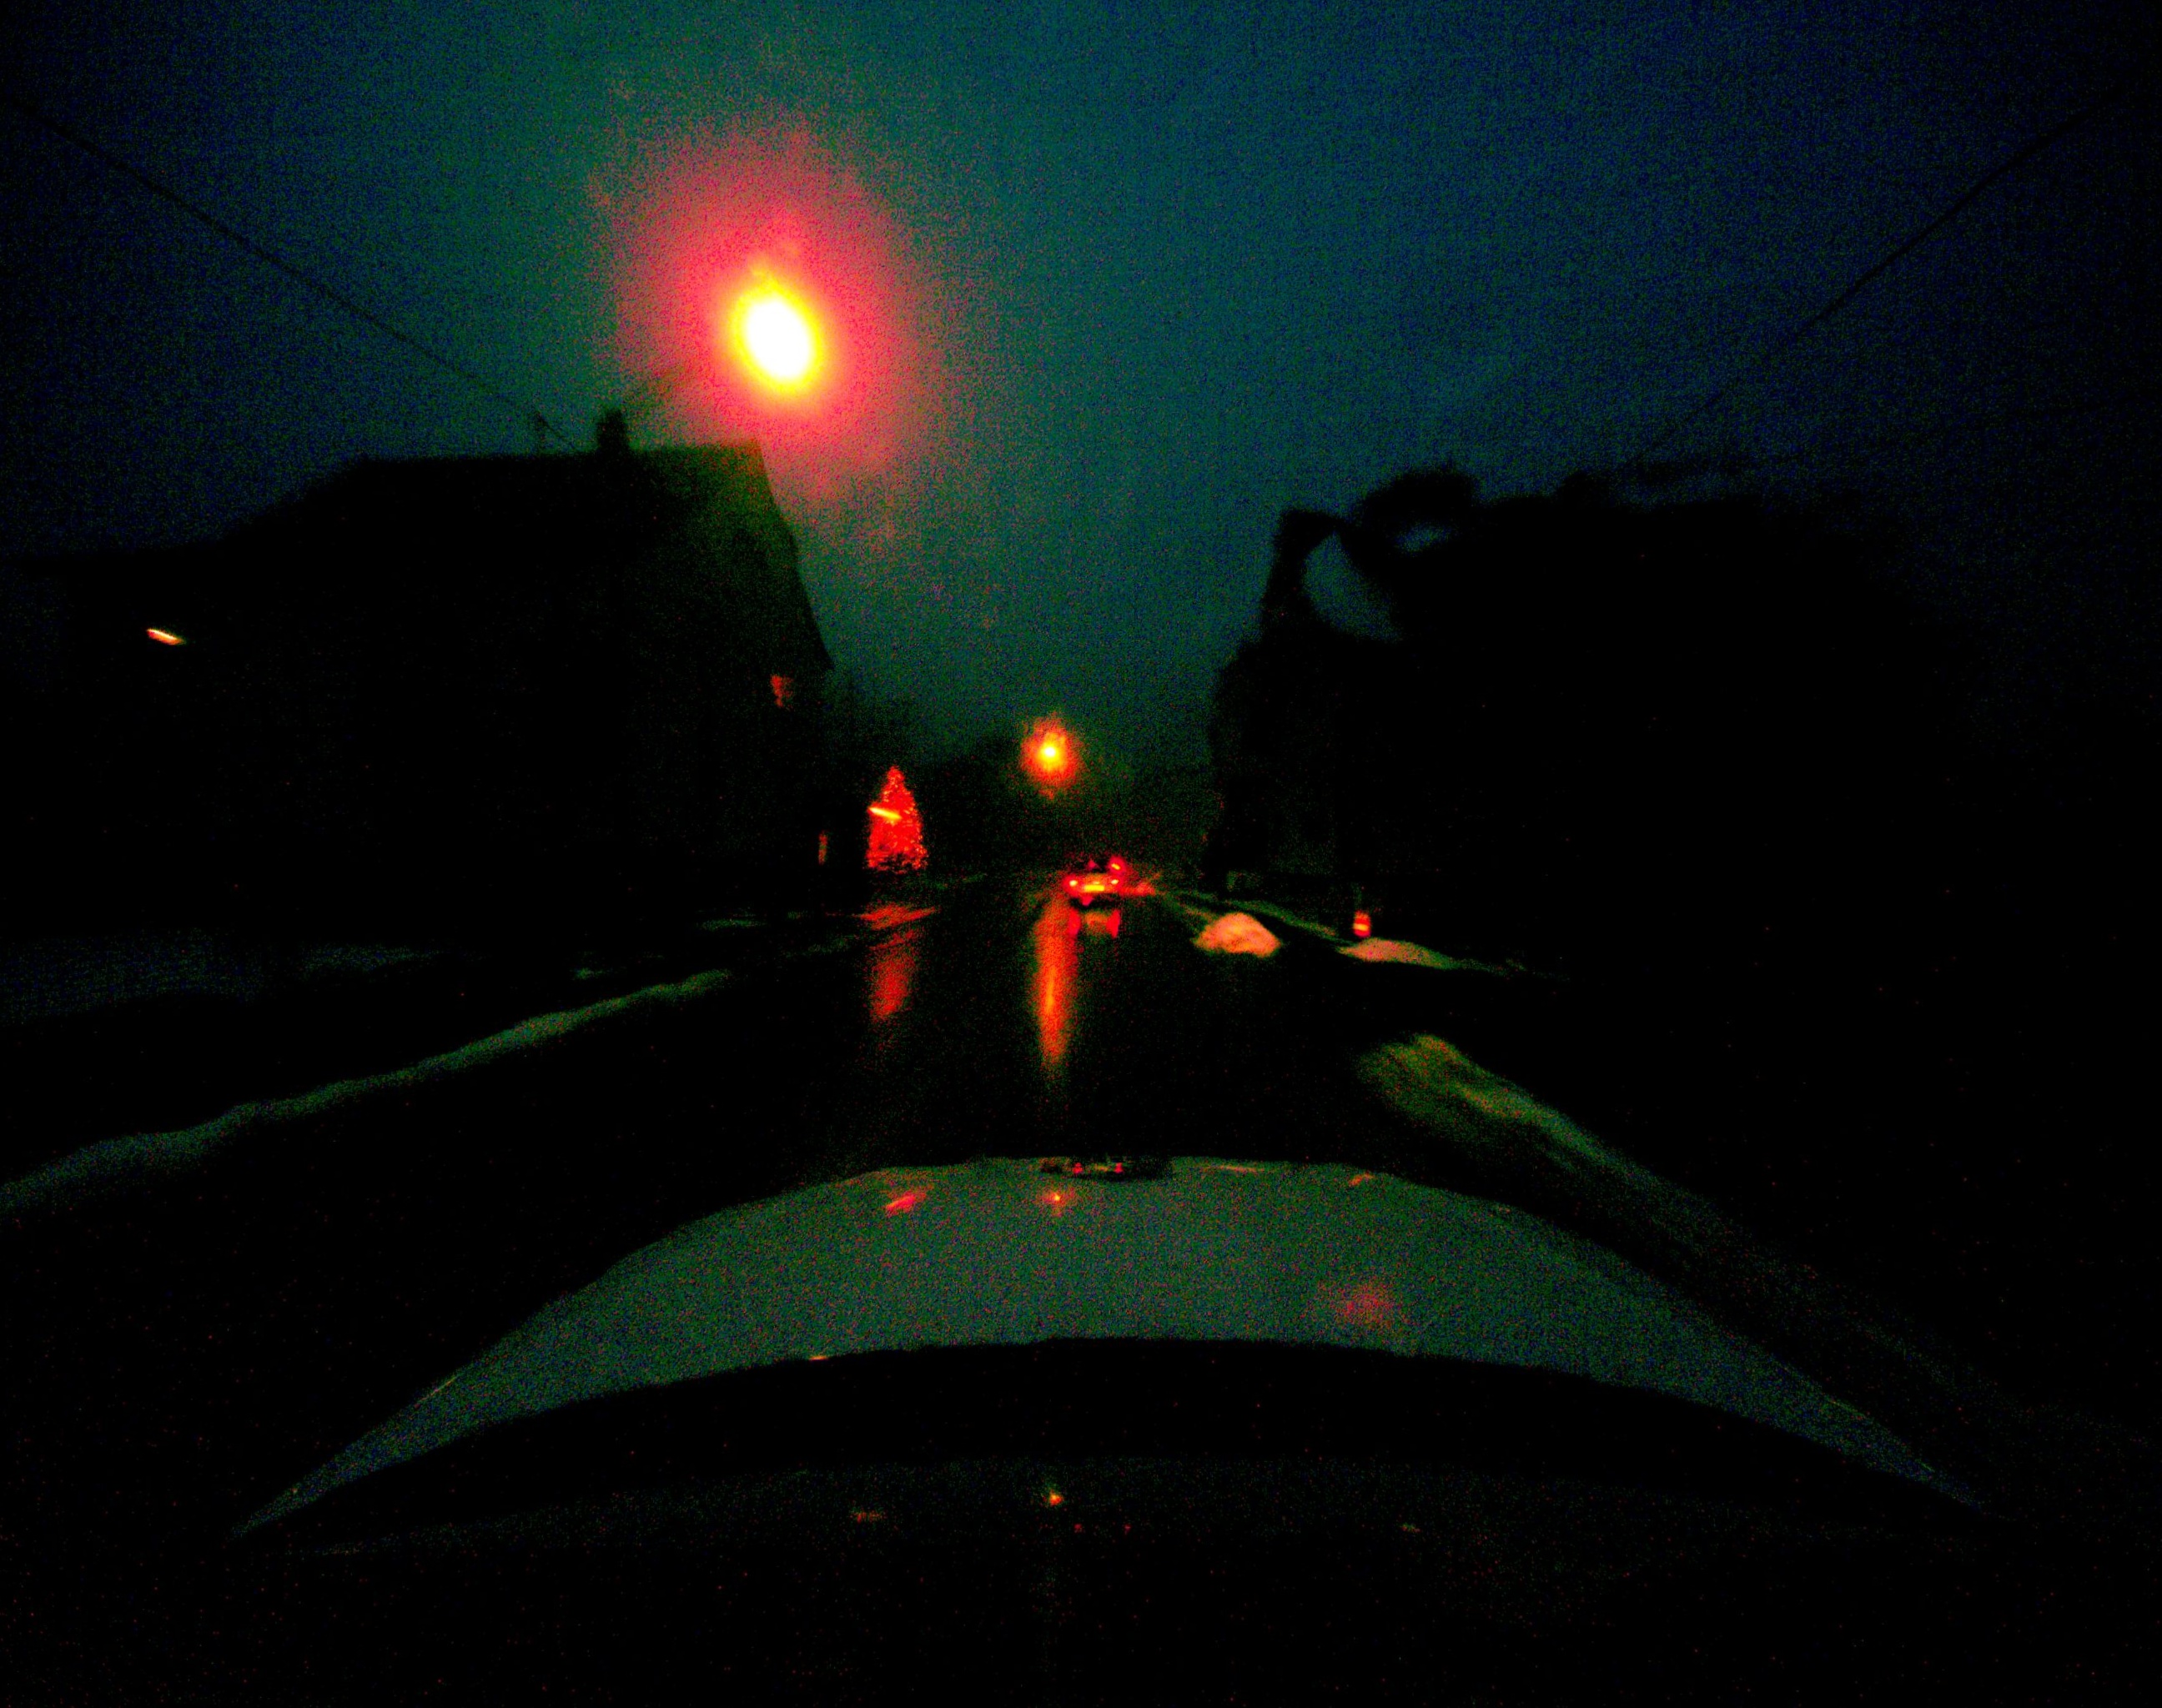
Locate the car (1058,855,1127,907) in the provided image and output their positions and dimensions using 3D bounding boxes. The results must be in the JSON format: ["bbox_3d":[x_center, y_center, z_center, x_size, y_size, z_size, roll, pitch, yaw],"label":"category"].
[{"bbox_3d":[0.474,0.938,27.234,1.984,1.508,4.004,2,-3,5],"label":"car"}]

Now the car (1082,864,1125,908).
[{"bbox_3d":[1.193,1.654,41.559,1.985,2.014,4.003,2,-3,4],"label":"car"}]
